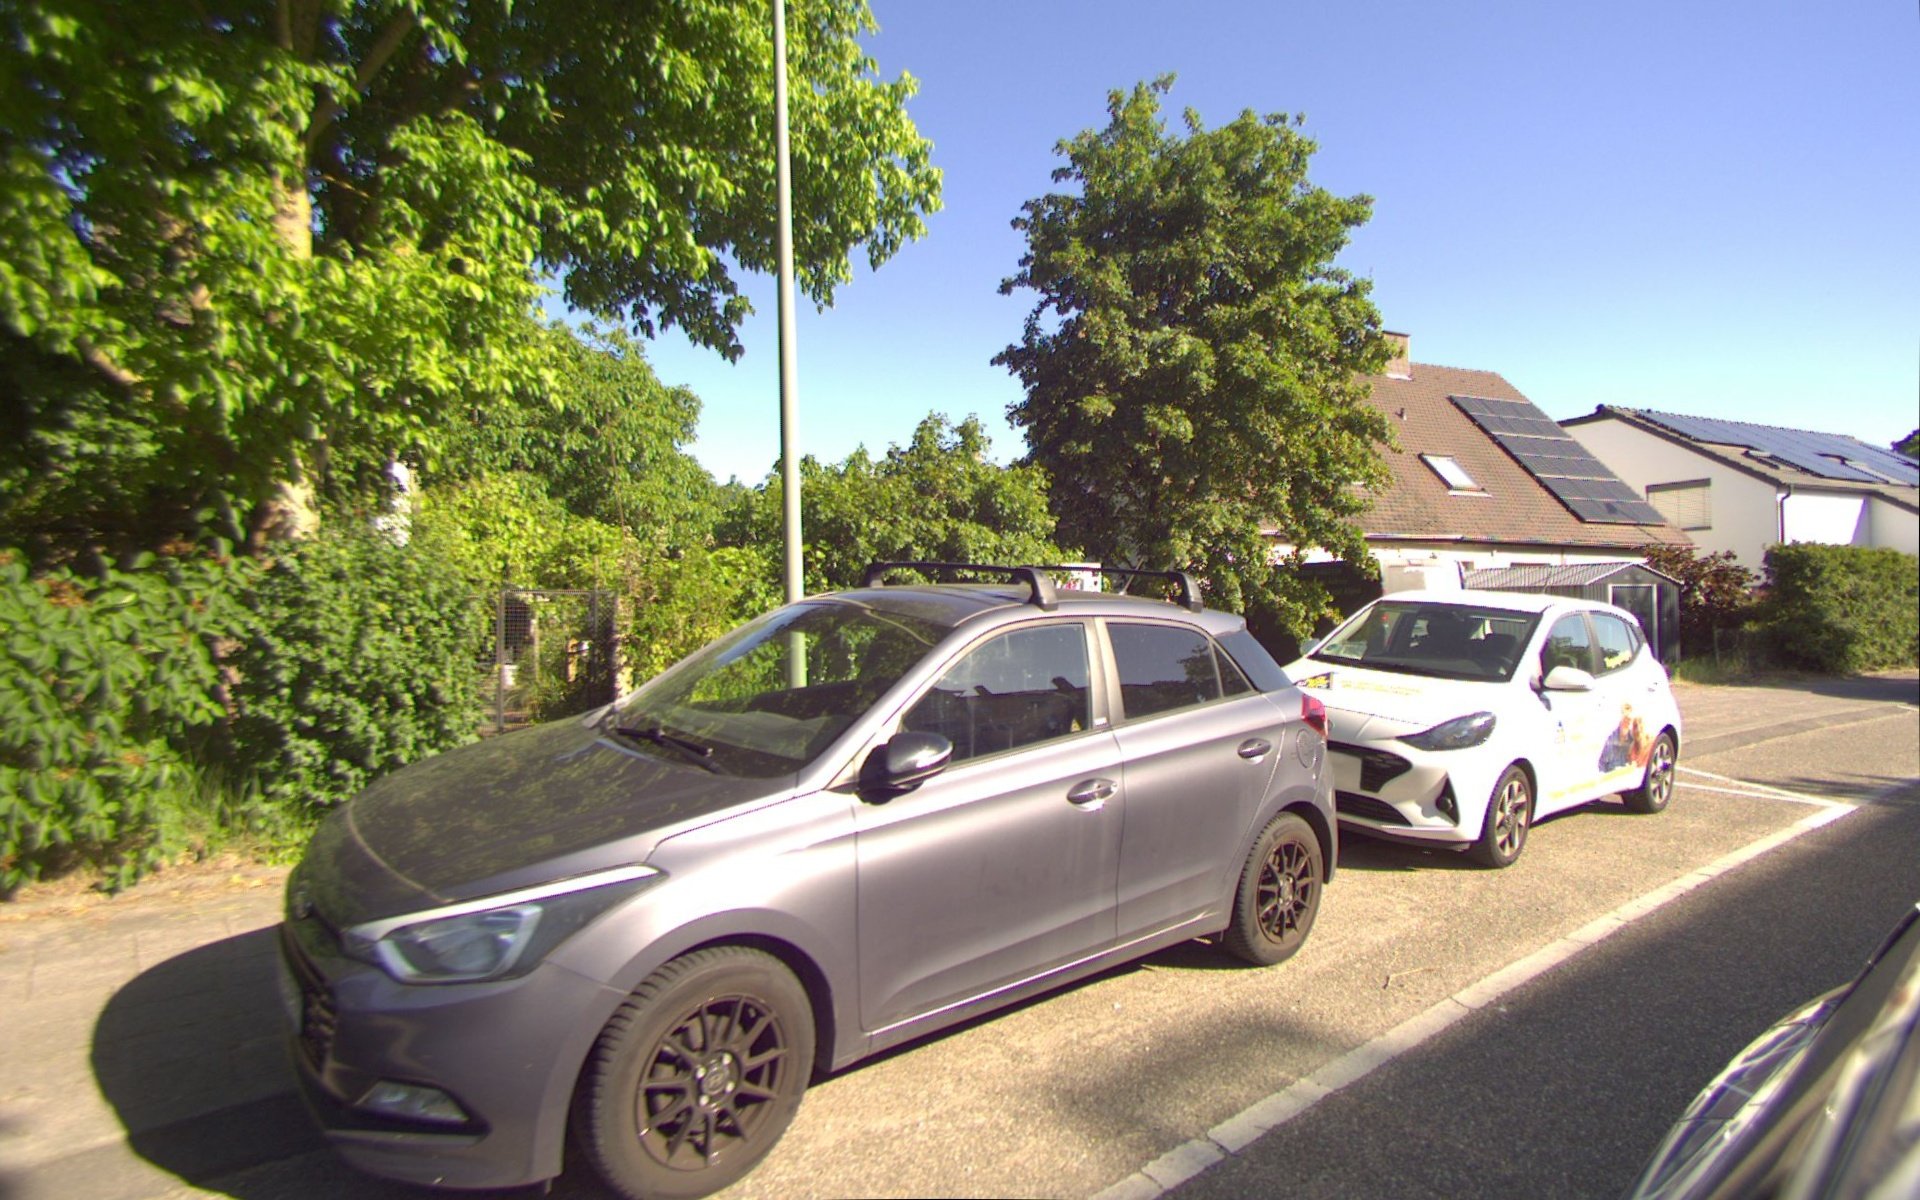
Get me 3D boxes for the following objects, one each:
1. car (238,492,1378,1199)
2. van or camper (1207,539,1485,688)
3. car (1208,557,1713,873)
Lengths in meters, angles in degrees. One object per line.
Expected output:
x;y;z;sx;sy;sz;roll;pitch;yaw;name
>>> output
-0.240;0.569;3.813;3.929;1.593;1.723;0;1;-40;car
5.886;0.203;15.934;1.910;2.039;3.859;0;-1;-23;van or camper
3.515;0.558;6.877;3.636;1.593;1.637;0;1;-38;car
